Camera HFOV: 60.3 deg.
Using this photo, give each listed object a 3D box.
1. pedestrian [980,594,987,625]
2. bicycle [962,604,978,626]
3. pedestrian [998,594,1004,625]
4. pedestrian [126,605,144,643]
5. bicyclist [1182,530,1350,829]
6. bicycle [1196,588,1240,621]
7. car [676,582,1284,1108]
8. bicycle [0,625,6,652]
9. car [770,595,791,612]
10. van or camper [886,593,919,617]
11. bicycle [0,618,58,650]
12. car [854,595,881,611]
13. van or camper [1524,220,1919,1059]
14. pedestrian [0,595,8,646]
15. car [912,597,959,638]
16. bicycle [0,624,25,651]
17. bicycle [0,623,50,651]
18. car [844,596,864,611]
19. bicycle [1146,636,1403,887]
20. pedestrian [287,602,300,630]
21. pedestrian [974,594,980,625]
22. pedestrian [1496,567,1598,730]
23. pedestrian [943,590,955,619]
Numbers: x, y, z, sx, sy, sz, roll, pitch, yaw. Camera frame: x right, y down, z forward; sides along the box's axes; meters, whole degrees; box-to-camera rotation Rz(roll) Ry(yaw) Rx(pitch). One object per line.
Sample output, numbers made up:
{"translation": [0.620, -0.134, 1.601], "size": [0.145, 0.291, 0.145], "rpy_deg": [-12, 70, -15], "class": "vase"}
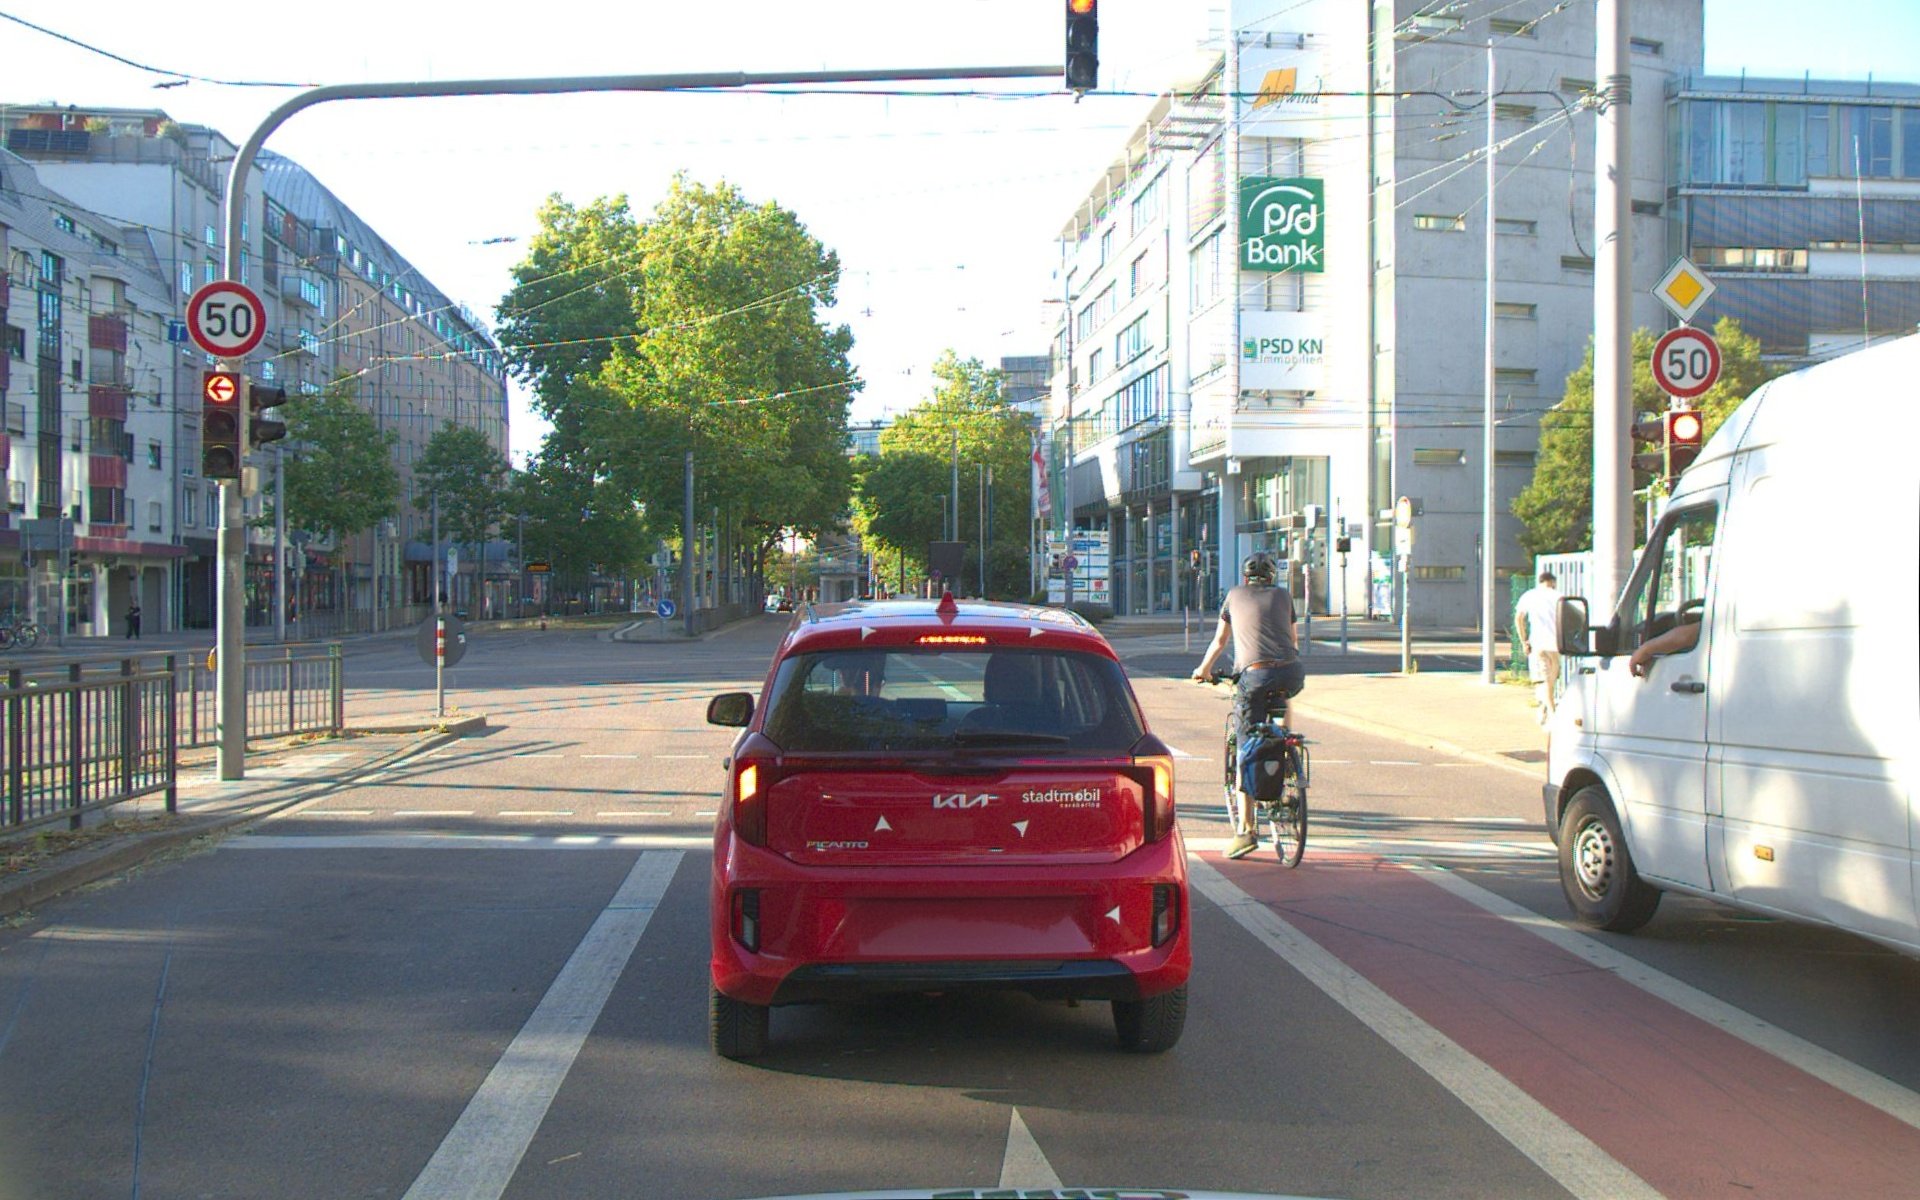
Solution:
{"translation": [1.188, 0.484, 83.832], "size": [0.288, 1.589, 0.355], "rpy_deg": [-1, 0, -3], "class": "pedestrian"}
{"translation": [0.562, 0.820, 91.628], "size": [0.776, 1.182, 2.500], "rpy_deg": [0, 0, 2], "class": "bicycle"}
{"translation": [2.105, 0.491, 84.055], "size": [0.288, 1.589, 0.314], "rpy_deg": [-1, 0, 1], "class": "pedestrian"}
{"translation": [-32.358, 0.932, 64.859], "size": [0.502, 1.484, 0.526], "rpy_deg": [-1, 0, -14], "class": "pedestrian"}
{"translation": [1.808, 0.455, 9.847], "size": [0.730, 1.698, 0.743], "rpy_deg": [1, 0, -11], "class": "bicyclist"}
{"translation": [11.706, 0.198, 75.149], "size": [1.898, 1.468, 0.574], "rpy_deg": [-1, 0, -7], "class": "bicycle"}
{"translation": [-0.093, 0.703, 6.754], "size": [1.804, 1.515, 3.712], "rpy_deg": [0, 0, -5], "class": "car"}
{"translation": [-29.796, 1.160, 49.422], "size": [2.129, 0.801, 0.639], "rpy_deg": [-1, 0, -9], "class": "bicycle"}
{"translation": [-19.018, 0.384, 175.033], "size": [2.020, 1.682, 3.483], "rpy_deg": [-1, 0, -11], "class": "car"}
{"translation": [-4.601, 0.378, 132.019], "size": [2.105, 1.781, 4.423], "rpy_deg": [-1, 0, -8], "class": "van or camper"}
{"translation": [-29.724, 1.083, 52.204], "size": [2.129, 0.967, 0.491], "rpy_deg": [-1, 0, -9], "class": "bicycle"}
{"translation": [-9.324, 0.312, 166.559], "size": [2.431, 1.555, 4.424], "rpy_deg": [-1, 0, -7], "class": "car"}
{"translation": [4.302, 0.156, 5.435], "size": [2.224, 2.781, 6.340], "rpy_deg": [2, 0, -5], "class": "van or camper"}
{"translation": [-32.512, 0.691, 55.811], "size": [0.500, 1.728, 0.527], "rpy_deg": [-1, 0, -8], "class": "pedestrian"}
{"translation": [-0.973, 0.676, 66.619], "size": [1.806, 1.595, 4.273], "rpy_deg": [-1, 0, -1], "class": "car"}
{"translation": [-29.621, 1.162, 50.205], "size": [2.129, 0.801, 0.491], "rpy_deg": [-1, 0, -9], "class": "bicycle"}
{"translation": [-29.618, 1.147, 51.568], "size": [2.129, 0.838, 0.527], "rpy_deg": [-1, 0, -9], "class": "bicycle"}
{"translation": [-11.691, 0.383, 182.345], "size": [1.850, 1.555, 4.423], "rpy_deg": [-1, 0, -8], "class": "car"}
{"translation": [1.794, 0.883, 9.843], "size": [0.730, 1.245, 2.150], "rpy_deg": [1, 0, -11], "class": "bicycle"}
{"translation": [-35.391, 0.864, 87.874], "size": [0.500, 1.484, 0.527], "rpy_deg": [-1, 0, -8], "class": "pedestrian"}
{"translation": [0.845, 0.480, 83.605], "size": [0.288, 1.589, 0.302], "rpy_deg": [-1, 0, -1], "class": "pedestrian"}
{"translation": [6.604, 0.531, 18.630], "size": [0.773, 1.779, 0.769], "rpy_deg": [-1, 0, -15], "class": "pedestrian"}
{"translation": [-0.673, 0.293, 101.574], "size": [0.728, 1.746, 0.748], "rpy_deg": [0, 0, -3], "class": "pedestrian"}
